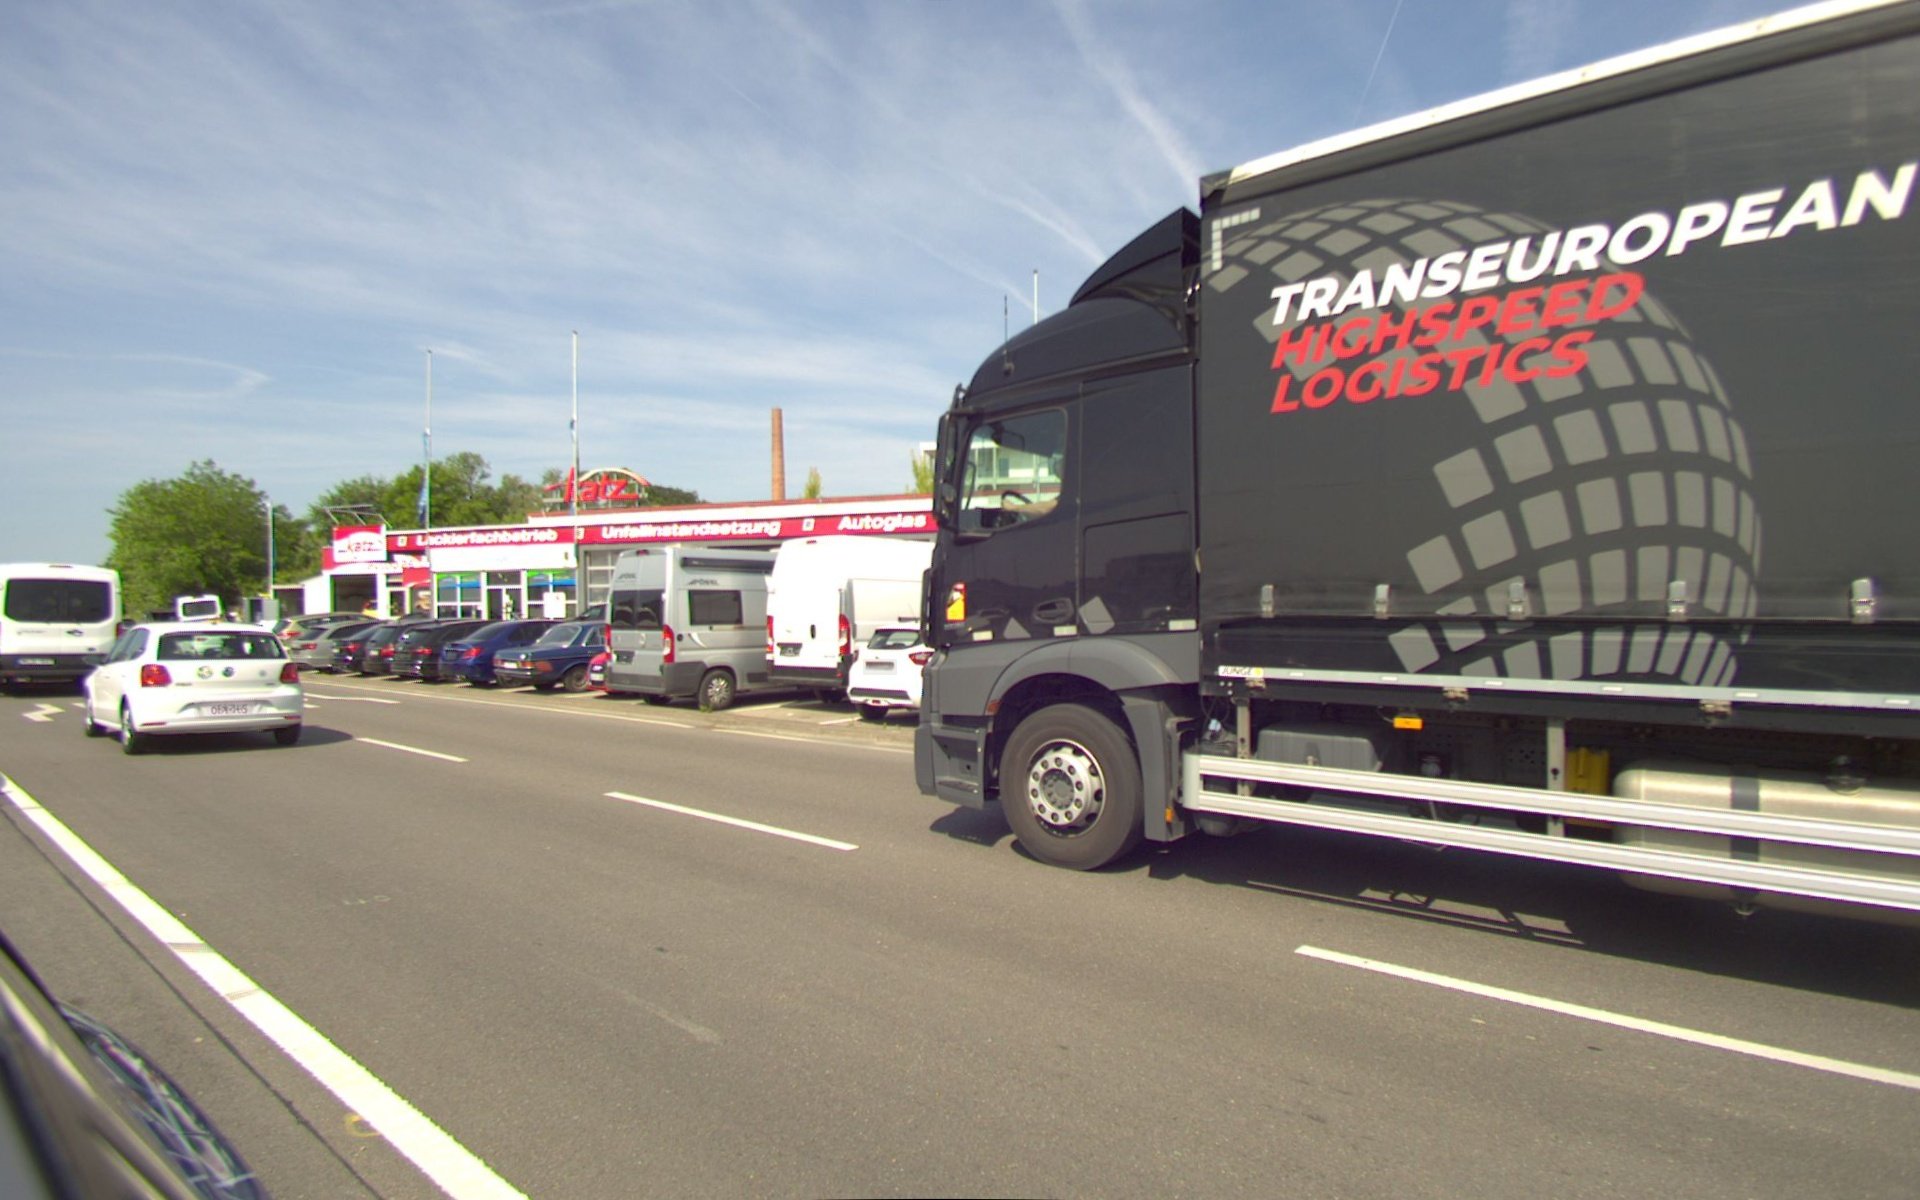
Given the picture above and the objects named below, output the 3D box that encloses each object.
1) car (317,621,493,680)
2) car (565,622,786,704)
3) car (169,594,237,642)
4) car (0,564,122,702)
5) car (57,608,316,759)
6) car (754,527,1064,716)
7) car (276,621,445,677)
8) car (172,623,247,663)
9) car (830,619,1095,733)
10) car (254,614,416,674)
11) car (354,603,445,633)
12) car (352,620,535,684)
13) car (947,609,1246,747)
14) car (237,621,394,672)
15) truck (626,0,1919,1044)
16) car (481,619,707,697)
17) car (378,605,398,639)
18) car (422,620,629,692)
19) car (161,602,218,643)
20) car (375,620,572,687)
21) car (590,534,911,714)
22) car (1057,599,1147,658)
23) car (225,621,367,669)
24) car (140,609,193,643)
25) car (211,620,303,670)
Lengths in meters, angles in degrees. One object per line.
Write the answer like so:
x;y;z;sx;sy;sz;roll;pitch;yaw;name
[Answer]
-15.298;1.346;28.015;1.756;1.493;3.943;-1;-1;43;car
-5.605;1.171;20.262;1.828;1.442;3.896;-1;-1;42;car
-43.820;1.030;58.731;2.399;2.563;6.060;-1;-1;-29;car
-19.711;0.661;21.447;7.113;2.529;2.036;-1;-1;43;car
-9.552;0.921;12.398;3.996;1.567;1.636;-1;-3;40;car
-0.709;0.382;18.085;2.116;2.860;5.646;-3;-2;42;car
-17.496;1.378;29.695;1.737;1.504;3.925;-1;-1;38;car
-30.749;1.715;41.415;4.000;1.425;1.742;-1;2;43;car
0.143;1.039;15.432;1.881;1.481;3.944;-1;-1;42;car
-19.370;1.316;31.474;1.871;1.740;3.944;-1;-1;43;car
-32.803;1.018;59.328;1.863;1.667;4.501;-1;-1;23;car
-13.361;1.278;26.321;1.949;1.511;3.826;-1;-1;43;car
1.991;0.909;13.665;2.028;1.542;4.323;-1;-1;40;car
-21.108;1.469;33.240;1.998;1.537;3.947;-1;-1;39;car
1.949;-0.433;6.325;9.963;4.028;2.685;-1;-1;39;truck
-7.744;1.153;21.702;1.873;1.479;4.202;-1;-1;42;car
-31.043;1.192;54.914;0.868;1.850;0.847;0;-1;-36;car
-9.864;1.206;23.167;1.905;1.465;3.945;-1;-1;41;car
-51.383;1.505;67.425;2.405;2.563;5.343;-1;-1;-44;car
-11.888;1.249;24.897;1.945;1.463;3.945;-1;-1;41;car
-3.618;0.410;18.444;2.177;2.794;5.506;-1;-1;42;car
4.241;0.802;29.752;1.902;1.630;3.975;-1;-1;18;car
-23.034;1.511;35.195;1.940;1.562;3.750;-1;-1;40;car
-55.849;1.799;71.200;2.405;2.281;5.343;-1;-1;-44;car
-25.705;1.581;36.963;4.001;1.567;1.972;-1;3;44;car
